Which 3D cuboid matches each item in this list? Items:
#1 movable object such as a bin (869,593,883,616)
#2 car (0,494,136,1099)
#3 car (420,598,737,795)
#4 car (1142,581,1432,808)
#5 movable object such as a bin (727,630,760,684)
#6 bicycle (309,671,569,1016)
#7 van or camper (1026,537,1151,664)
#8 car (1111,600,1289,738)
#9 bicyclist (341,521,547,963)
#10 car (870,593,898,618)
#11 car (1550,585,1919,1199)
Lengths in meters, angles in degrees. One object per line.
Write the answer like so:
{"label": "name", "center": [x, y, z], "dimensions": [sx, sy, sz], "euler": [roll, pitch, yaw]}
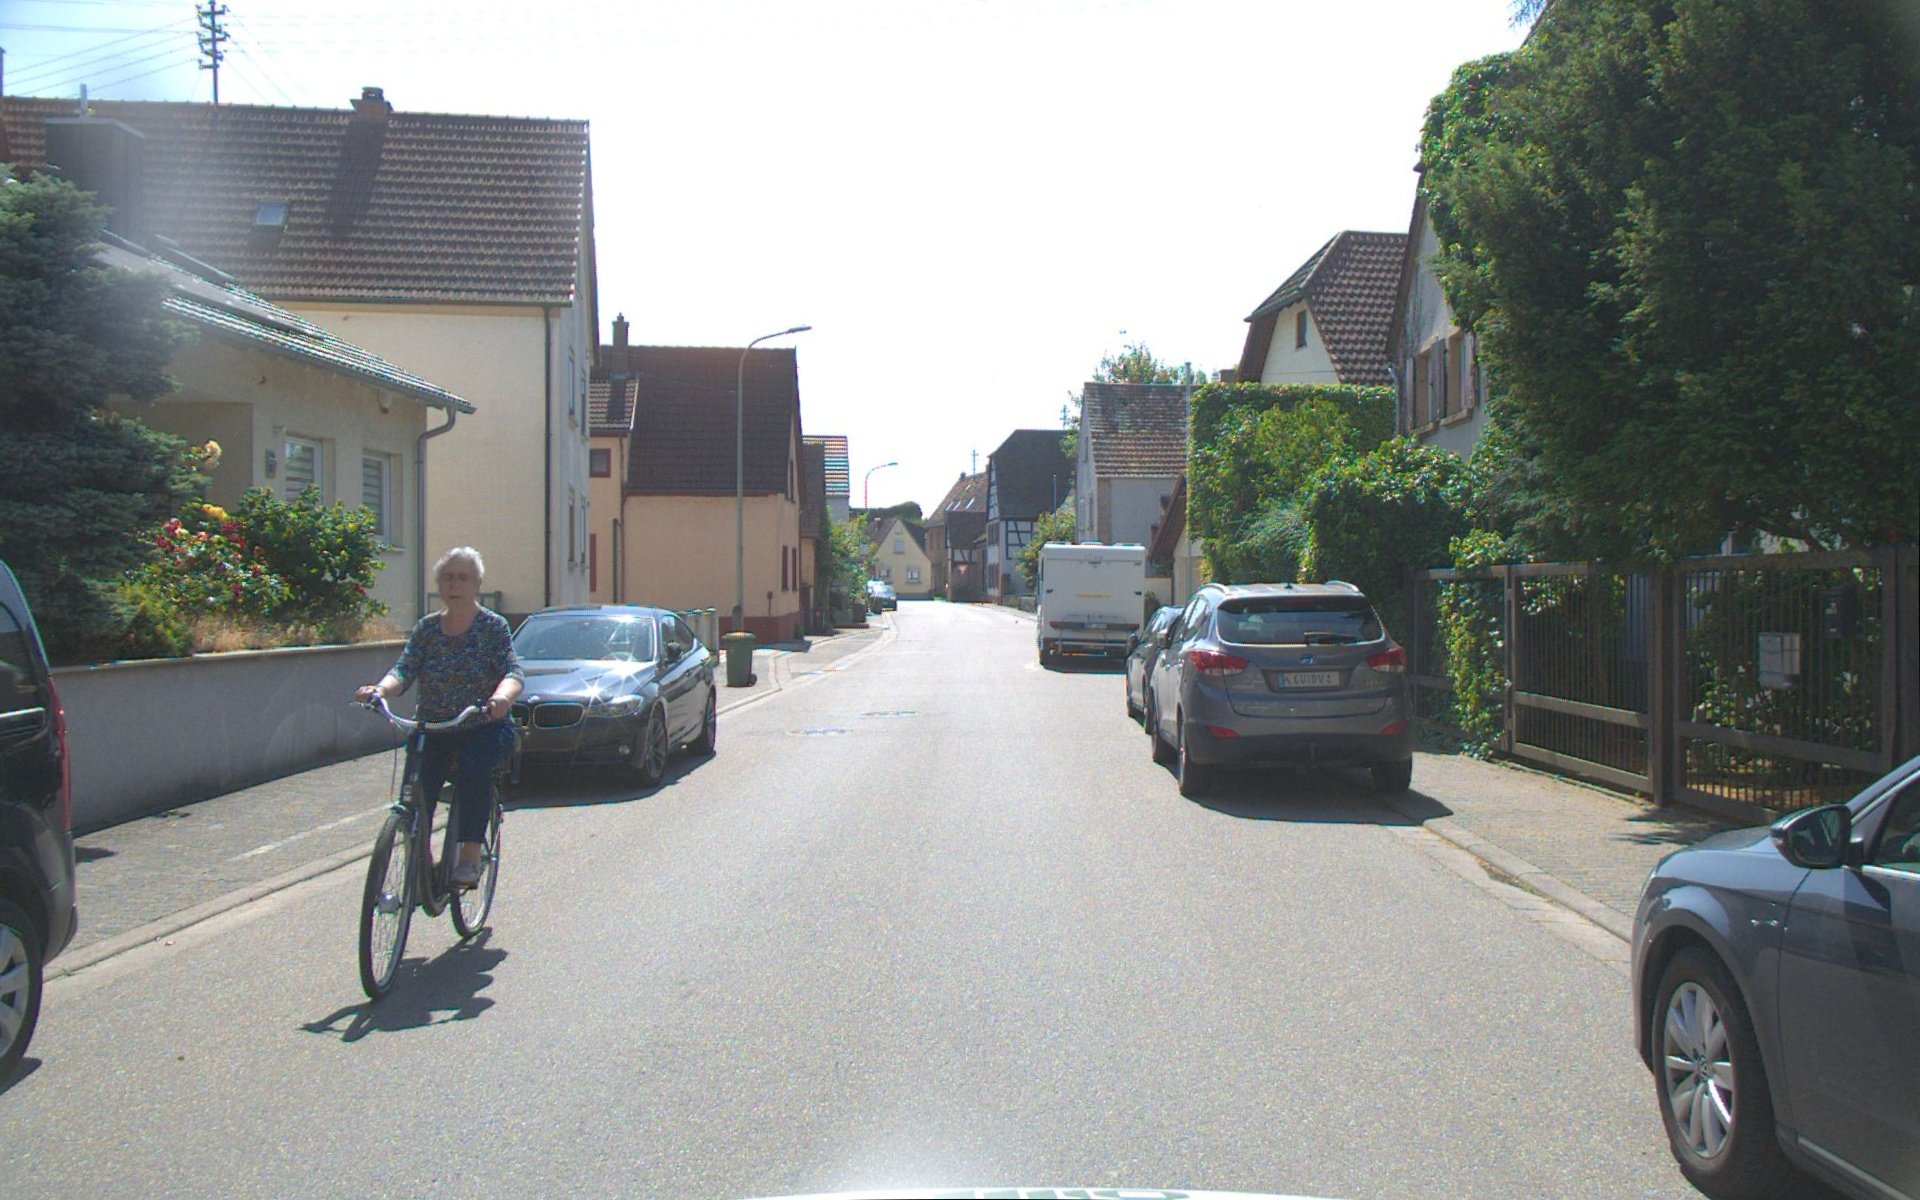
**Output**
{"label": "movable object such as a bin", "center": [-4.512, 0.237, 89.131], "dimensions": [0.674, 1.206, 0.714], "euler": [-1, 0, 0]}
{"label": "car", "center": [-3.889, 0.615, 3.750], "dimensions": [1.797, 1.869, 4.354], "euler": [0, 0, 1]}
{"label": "car", "center": [-3.354, 0.765, 15.533], "dimensions": [1.806, 1.553, 4.766], "euler": [0, 0, 1]}
{"label": "car", "center": [2.645, 0.673, 14.363], "dimensions": [1.756, 1.659, 4.362], "euler": [-1, 1, 2]}
{"label": "movable object such as a bin", "center": [-3.998, 1.055, 30.573], "dimensions": [0.528, 0.966, 0.553], "euler": [1, 0, 0]}
{"label": "bicycle", "center": [-2.162, 0.944, 7.111], "dimensions": [0.577, 1.168, 1.947], "euler": [-1, 0, -3]}
{"label": "van or camper", "center": [2.886, 0.012, 38.189], "dimensions": [2.470, 2.744, 4.554], "euler": [0, 0, -1]}
{"label": "car", "center": [2.844, 0.762, 20.362], "dimensions": [1.676, 1.489, 4.066], "euler": [-1, 0, 1]}
{"label": "bicyclist", "center": [-2.198, 0.581, 7.107], "dimensions": [0.690, 1.802, 0.624], "euler": [-1, 0, -4]}
{"label": "car", "center": [-4.660, 0.312, 101.624], "dimensions": [1.480, 1.461, 3.511], "euler": [-1, 0, 0]}
{"label": "car", "center": [2.889, 0.731, 3.216], "dimensions": [1.782, 1.535, 4.581], "euler": [0, 0, -1]}
